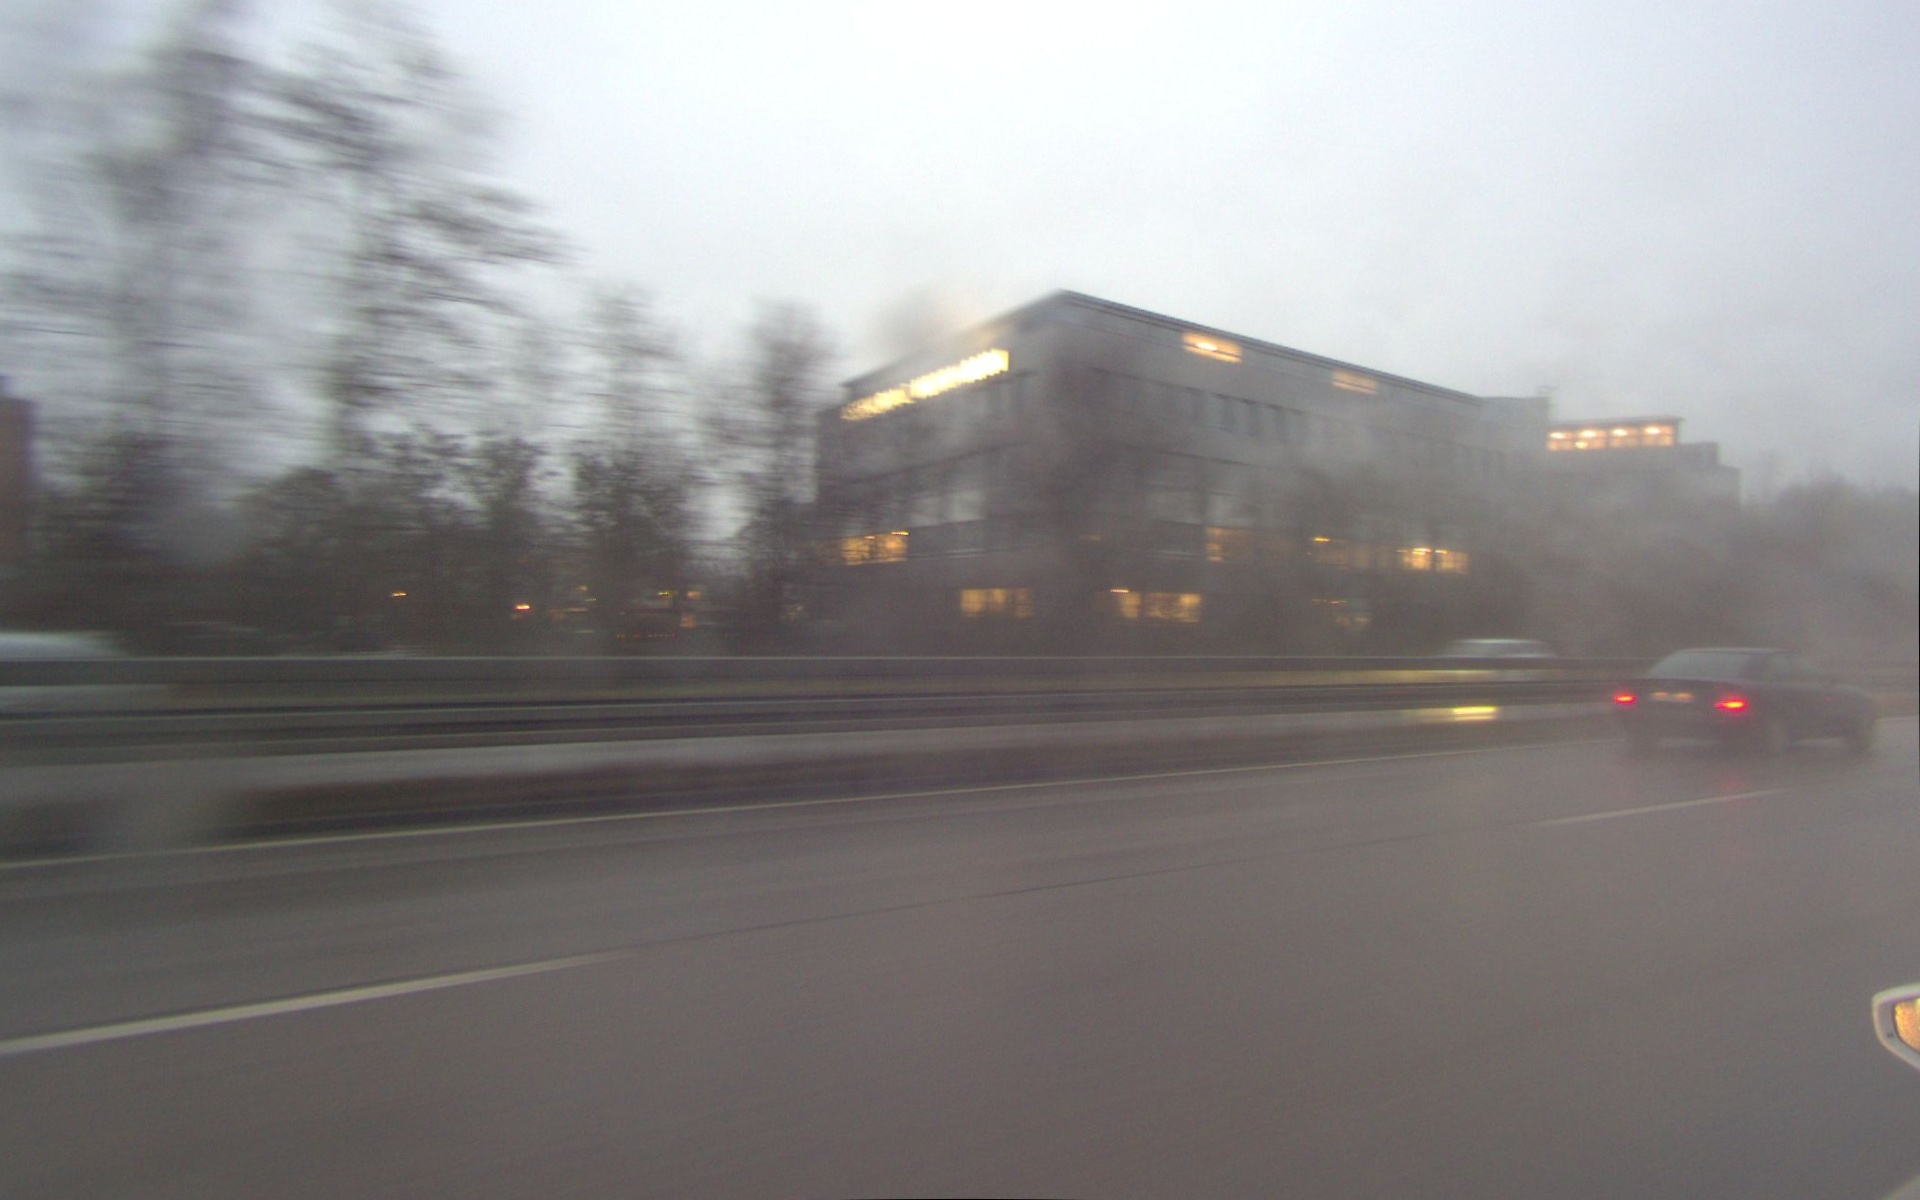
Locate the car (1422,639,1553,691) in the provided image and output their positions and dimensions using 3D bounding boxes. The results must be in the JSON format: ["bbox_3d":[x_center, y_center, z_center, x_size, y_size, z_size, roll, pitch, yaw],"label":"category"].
[{"bbox_3d":[17.007,2.083,32.322,4.486,1.532,1.538,2,-1,-30],"label":"car"}]

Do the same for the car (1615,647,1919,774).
[{"bbox_3d":[11.501,1.517,14.185,4.645,1.554,1.769,4,-4,-28],"label":"car"}]

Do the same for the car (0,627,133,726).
[{"bbox_3d":[-14.631,1.041,13.942,4.631,1.288,1.538,2,1,-30],"label":"car"}]
